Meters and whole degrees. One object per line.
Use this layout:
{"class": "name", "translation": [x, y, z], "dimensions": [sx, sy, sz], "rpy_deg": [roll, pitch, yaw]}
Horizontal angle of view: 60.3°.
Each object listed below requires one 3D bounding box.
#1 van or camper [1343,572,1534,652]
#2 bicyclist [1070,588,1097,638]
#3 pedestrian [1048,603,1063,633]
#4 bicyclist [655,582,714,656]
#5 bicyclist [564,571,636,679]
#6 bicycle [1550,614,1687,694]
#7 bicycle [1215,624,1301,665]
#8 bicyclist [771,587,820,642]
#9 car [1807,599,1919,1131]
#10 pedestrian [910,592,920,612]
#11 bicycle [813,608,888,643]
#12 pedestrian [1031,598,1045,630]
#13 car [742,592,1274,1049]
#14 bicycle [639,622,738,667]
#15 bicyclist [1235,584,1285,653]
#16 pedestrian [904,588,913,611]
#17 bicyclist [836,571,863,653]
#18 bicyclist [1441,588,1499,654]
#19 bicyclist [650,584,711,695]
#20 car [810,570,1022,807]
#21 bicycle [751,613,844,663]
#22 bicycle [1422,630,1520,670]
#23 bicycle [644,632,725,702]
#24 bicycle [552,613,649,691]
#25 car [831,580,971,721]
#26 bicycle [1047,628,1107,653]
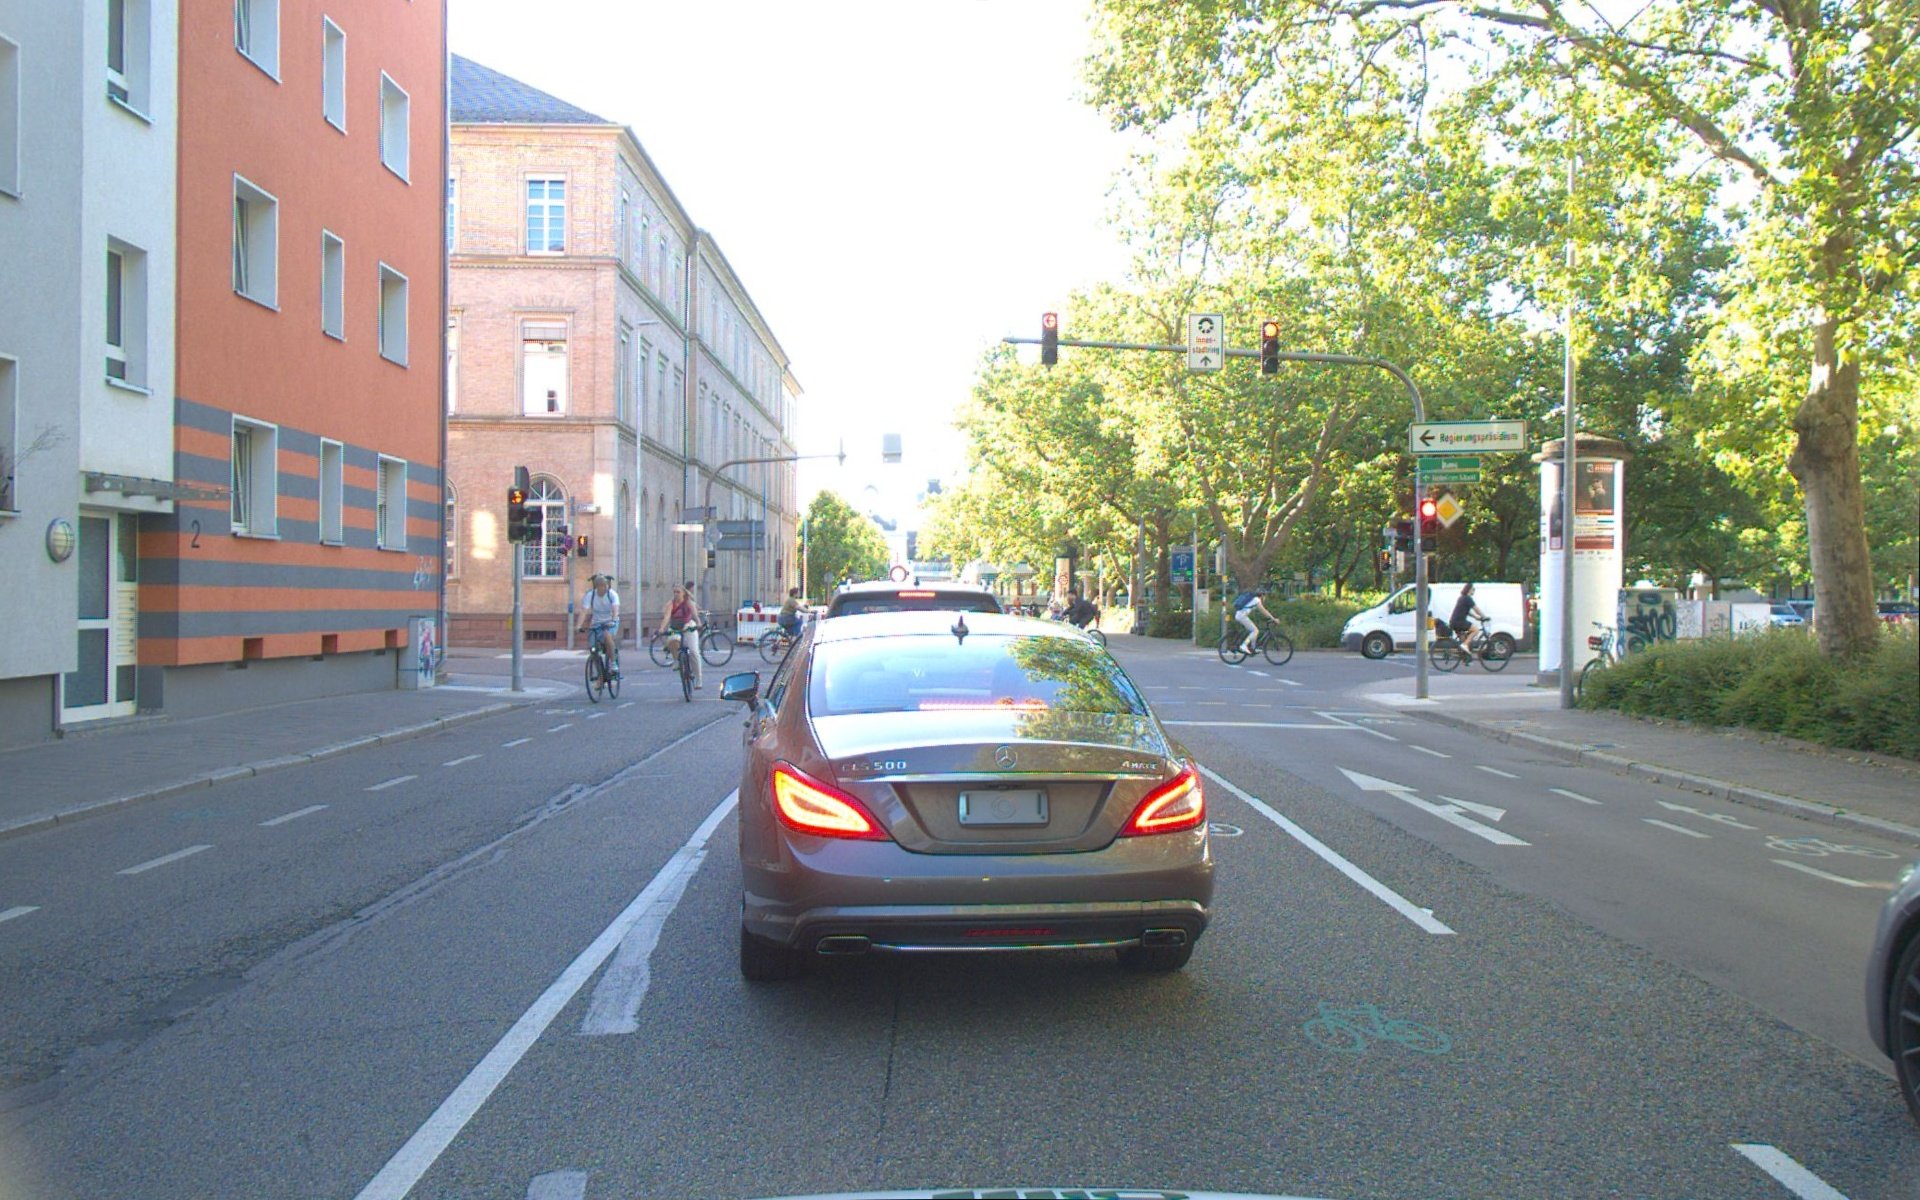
{"class": "van or camper", "translation": [12.289, 0.297, 42.728], "dimensions": [4.481, 1.975, 2.002], "rpy_deg": [0, 0, 8]}
{"class": "bicyclist", "translation": [3.236, 0.341, 43.462], "dimensions": [0.689, 1.282, 0.458], "rpy_deg": [0, 0, 2]}
{"class": "pedestrian", "translation": [4.605, 0.874, 79.679], "dimensions": [0.635, 1.458, 0.659], "rpy_deg": [0, 0, -1]}
{"class": "bicyclist", "translation": [-5.751, 0.391, 34.560], "dimensions": [1.094, 1.516, 0.711], "rpy_deg": [0, 0, -2]}
{"class": "bicyclist", "translation": [-5.354, 0.361, 24.659], "dimensions": [0.824, 1.582, 0.840], "rpy_deg": [0, 0, 5]}
{"class": "bicycle", "translation": [9.450, 0.769, 23.758], "dimensions": [1.766, 1.116, 0.510], "rpy_deg": [0, 0, 2]}
{"class": "bicycle", "translation": [6.771, 1.007, 37.662], "dimensions": [1.853, 0.898, 0.726], "rpy_deg": [0, 0, 3]}
{"class": "bicyclist", "translation": [-3.538, 0.303, 35.680], "dimensions": [0.971, 1.174, 0.620], "rpy_deg": [0, 0, 1]}
{"class": "car", "translation": [3.676, 0.786, 2.919], "dimensions": [1.874, 1.490, 4.668], "rpy_deg": [2, 0, -1]}
{"class": "pedestrian", "translation": [-3.510, 0.163, 129.966], "dimensions": [0.785, 1.604, 0.844], "rpy_deg": [1, 0, -1]}
{"class": "bicycle", "translation": [-2.757, 0.637, 41.560], "dimensions": [1.856, 0.851, 0.457], "rpy_deg": [0, 0, -9]}
{"class": "pedestrian", "translation": [3.779, 0.689, 80.124], "dimensions": [0.635, 1.529, 0.637], "rpy_deg": [0, 0, -1]}
{"class": "car", "translation": [-0.102, 0.715, 7.659], "dimensions": [1.769, 1.482, 4.343], "rpy_deg": [1, 0, -8]}
{"class": "bicycle", "translation": [-5.657, 0.926, 34.579], "dimensions": [1.946, 0.919, 0.733], "rpy_deg": [0, 0, -1]}
{"class": "bicyclist", "translation": [6.824, 0.415, 37.662], "dimensions": [1.052, 1.546, 0.717], "rpy_deg": [0, 0, 4]}
{"class": "pedestrian", "translation": [-4.234, -0.034, 136.387], "dimensions": [0.706, 1.935, 0.704], "rpy_deg": [1, 0, -1]}
{"class": "bicyclist", "translation": [-2.788, 0.302, 41.558], "dimensions": [0.640, 2.049, 0.439], "rpy_deg": [0, 0, -8]}
{"class": "bicyclist", "translation": [11.177, 0.451, 36.282], "dimensions": [1.080, 1.427, 0.658], "rpy_deg": [0, 0, 2]}
{"class": "bicyclist", "translation": [-4.131, 0.574, 24.534], "dimensions": [0.670, 1.605, 0.982], "rpy_deg": [0, 0, 4]}
{"class": "car", "translation": [-0.407, 0.629, 13.721], "dimensions": [1.487, 1.675, 3.878], "rpy_deg": [1, 0, -3]}
{"class": "bicycle", "translation": [-3.499, 0.813, 35.686], "dimensions": [1.939, 1.045, 0.652], "rpy_deg": [0, 0, 1]}
{"class": "bicycle", "translation": [11.192, 1.089, 36.272], "dimensions": [1.933, 0.851, 0.677], "rpy_deg": [0, 0, 2]}
{"class": "bicycle", "translation": [-4.088, 0.980, 24.664], "dimensions": [0.678, 0.945, 1.865], "rpy_deg": [0, 0, 7]}
{"class": "bicycle", "translation": [-5.340, 0.752, 24.694], "dimensions": [0.844, 1.097, 1.838], "rpy_deg": [0, 0, 7]}
{"class": "car", "translation": [-0.785, 0.643, 23.227], "dimensions": [1.783, 1.793, 3.999], "rpy_deg": [0, 0, -1]}
{"class": "bicycle", "translation": [3.052, 1.060, 43.296], "dimensions": [1.554, 0.646, 0.496], "rpy_deg": [0, 0, 3]}
